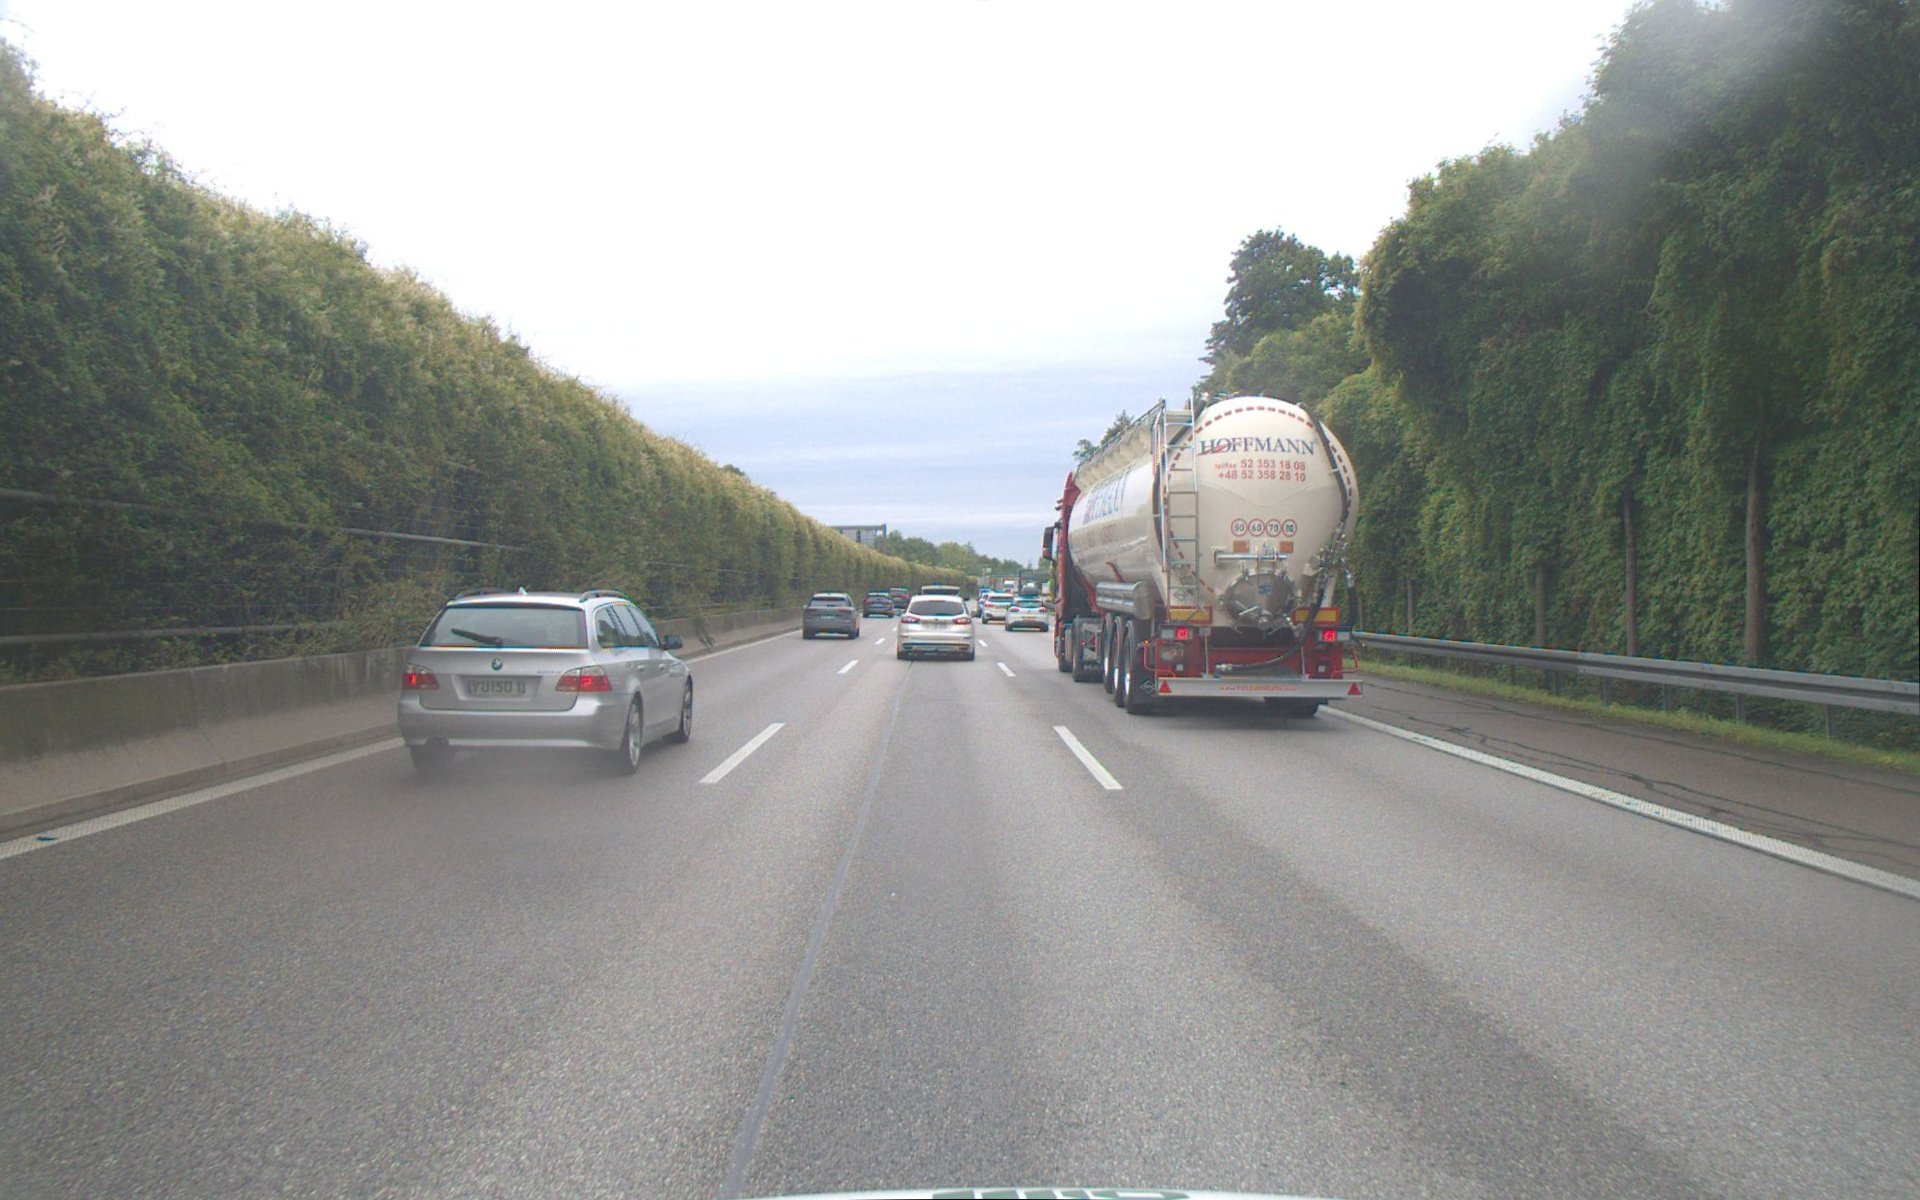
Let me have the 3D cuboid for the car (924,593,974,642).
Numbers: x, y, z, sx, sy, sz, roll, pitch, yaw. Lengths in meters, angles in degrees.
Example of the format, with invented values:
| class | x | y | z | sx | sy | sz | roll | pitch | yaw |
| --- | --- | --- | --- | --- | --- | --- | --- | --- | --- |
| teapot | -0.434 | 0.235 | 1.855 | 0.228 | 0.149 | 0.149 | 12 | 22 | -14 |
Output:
| class | x | y | z | sx | sy | sz | roll | pitch | yaw |
| --- | --- | --- | --- | --- | --- | --- | --- | --- | --- |
| car | -0.384 | 0.609 | 60.908 | 1.655 | 1.532 | 3.872 | 5 | 1 | 0 |

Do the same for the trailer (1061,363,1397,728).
| class | x | y | z | sx | sy | sz | roll | pitch | yaw |
| --- | --- | --- | --- | --- | --- | --- | --- | --- | --- |
| trailer | 3.401 | -0.579 | 24.971 | 2.614 | 4.008 | 13.126 | 1 | 0 | -1 |

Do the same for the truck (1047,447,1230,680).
| class | x | y | z | sx | sy | sz | roll | pitch | yaw |
| --- | --- | --- | --- | --- | --- | --- | --- | --- | --- |
| truck | 3.263 | -0.620 | 31.915 | 2.640 | 3.981 | 6.554 | 1 | 0 | -1 |

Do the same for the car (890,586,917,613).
| class | x | y | z | sx | sy | sz | roll | pitch | yaw |
| --- | --- | --- | --- | --- | --- | --- | --- | --- | --- |
| car | -4.388 | -0.049 | 128.191 | 1.953 | 2.049 | 3.999 | 1 | 0 | -1 |

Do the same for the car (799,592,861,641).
| class | x | y | z | sx | sy | sz | roll | pitch | yaw |
| --- | --- | --- | --- | --- | --- | --- | --- | --- | --- |
| car | -4.263 | 0.516 | 54.892 | 1.685 | 1.538 | 5.029 | 1 | 0 | -1 |

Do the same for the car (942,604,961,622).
| class | x | y | z | sx | sy | sz | roll | pitch | yaw |
| --- | --- | --- | --- | --- | --- | --- | --- | --- | --- |
| car | -0.835 | 1.174 | 152.913 | 1.655 | 1.566 | 3.870 | 1 | 0 | -2 |

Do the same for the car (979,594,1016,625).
| class | x | y | z | sx | sy | sz | roll | pitch | yaw |
| --- | --- | --- | --- | --- | --- | --- | --- | --- | --- |
| car | 1.904 | 0.476 | 85.189 | 1.655 | 1.533 | 3.870 | 1 | 0 | -2 |

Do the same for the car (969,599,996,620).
| class | x | y | z | sx | sy | sz | roll | pitch | yaw |
| --- | --- | --- | --- | --- | --- | --- | --- | --- | --- |
| car | 1.470 | 0.620 | 109.353 | 1.654 | 1.354 | 3.870 | 1 | 0 | -1 |

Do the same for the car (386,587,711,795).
| class | x | y | z | sx | sy | sz | roll | pitch | yaw |
| --- | --- | --- | --- | --- | --- | --- | --- | --- | --- |
| car | -3.440 | 0.657 | 14.823 | 1.685 | 1.494 | 5.029 | 1 | 1 | -1 |

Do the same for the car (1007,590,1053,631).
| class | x | y | z | sx | sy | sz | roll | pitch | yaw |
| --- | --- | --- | --- | --- | --- | --- | --- | --- | --- |
| car | 2.924 | 0.423 | 69.865 | 1.779 | 1.654 | 5.030 | 1 | 0 | 0 |

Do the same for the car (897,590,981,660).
| class | x | y | z | sx | sy | sz | roll | pitch | yaw |
| --- | --- | --- | --- | --- | --- | --- | --- | --- | --- |
| car | -0.538 | 0.553 | 39.567 | 1.853 | 1.530 | 5.028 | 1 | 0 | -1 |

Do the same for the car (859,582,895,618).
| class | x | y | z | sx | sy | sz | roll | pitch | yaw |
| --- | --- | --- | --- | --- | --- | --- | --- | --- | --- |
| car | -4.922 | -0.022 | 98.278 | 1.953 | 2.049 | 3.840 | 1 | 0 | -1 |
